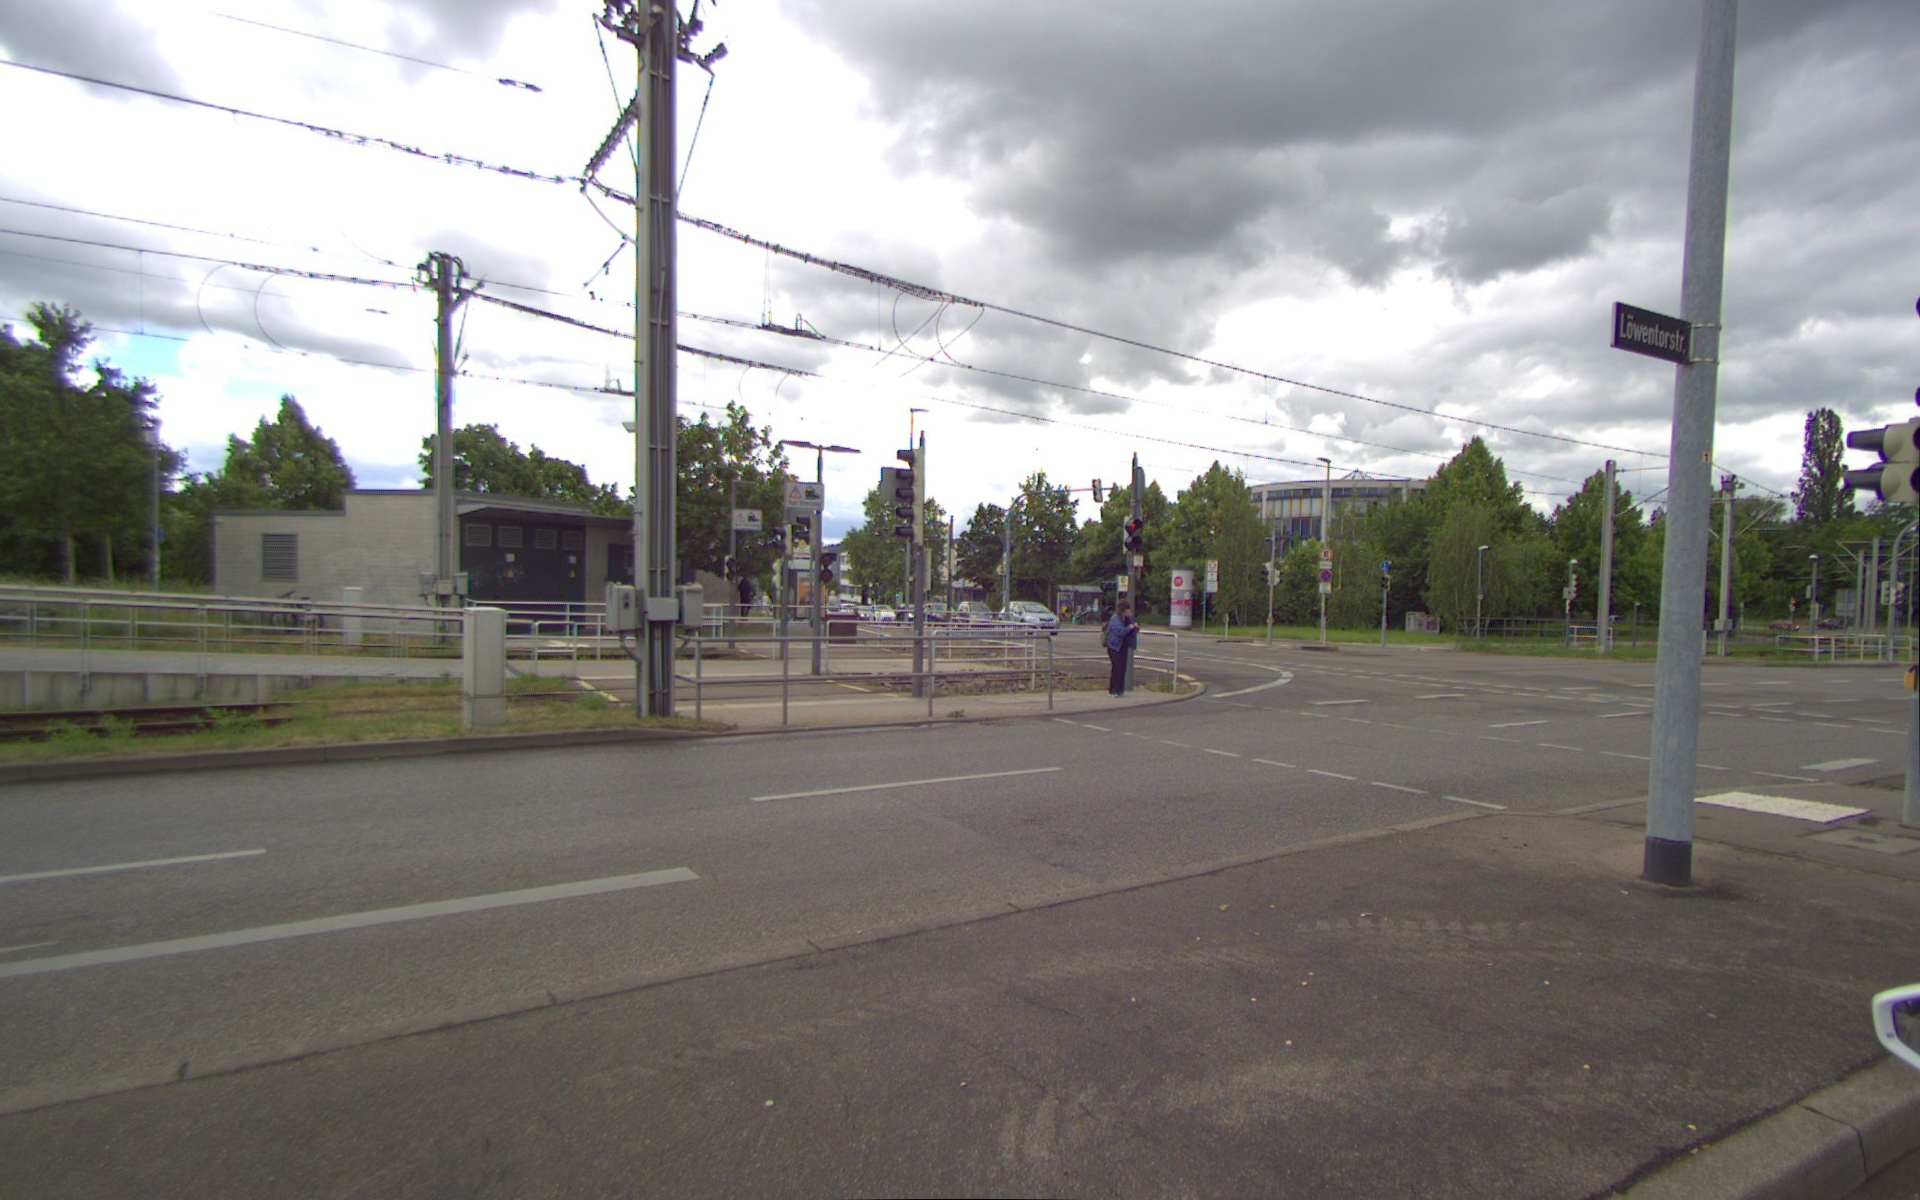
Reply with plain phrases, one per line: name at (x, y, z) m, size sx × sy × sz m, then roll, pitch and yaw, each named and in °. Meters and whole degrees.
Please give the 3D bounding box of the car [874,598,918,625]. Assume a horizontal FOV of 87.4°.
car at (-4.156, 0.697, 64.573) m, size 1.776 × 1.617 × 3.982 m, roll 2°, pitch 0°, yaw -20°

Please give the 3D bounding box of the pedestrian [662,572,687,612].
pedestrian at (-10.103, -0.271, 35.552) m, size 0.590 × 1.377 × 0.616 m, roll 2°, pitch 0°, yaw 18°

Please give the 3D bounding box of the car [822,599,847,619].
car at (-11.771, 0.827, 94.096) m, size 1.869 × 1.805 × 3.990 m, roll 1°, pitch 0°, yaw -13°

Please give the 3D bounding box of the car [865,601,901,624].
car at (-5.771, 0.925, 74.896) m, size 1.775 × 1.617 × 3.985 m, roll 2°, pitch 0°, yaw -17°

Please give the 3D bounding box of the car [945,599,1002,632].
car at (0.660, 0.794, 53.863) m, size 1.776 × 1.617 × 3.982 m, roll 2°, pitch 0°, yaw -20°

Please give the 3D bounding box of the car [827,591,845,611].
car at (-14.621, 0.101, 118.105) m, size 1.964 × 2.218 × 5.800 m, roll 1°, pitch 0°, yaw -9°

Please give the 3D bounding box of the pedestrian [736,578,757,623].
pedestrian at (-8.485, 0.022, 39.894) m, size 0.700 × 1.751 × 0.674 m, roll 2°, pitch 0°, yaw -19°

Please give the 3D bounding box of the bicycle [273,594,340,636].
bicycle at (-17.376, 0.394, 26.693) m, size 1.778 × 1.045 × 0.536 m, roll 2°, pitch 0°, yaw 21°

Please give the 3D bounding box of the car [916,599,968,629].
car at (-1.070, 0.761, 58.036) m, size 1.776 × 1.617 × 3.982 m, roll 2°, pitch 0°, yaw -20°

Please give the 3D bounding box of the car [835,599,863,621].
car at (-9.572, 0.857, 86.583) m, size 1.869 × 1.805 × 3.988 m, roll 1°, pitch 0°, yaw -14°

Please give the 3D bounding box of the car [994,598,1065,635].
car at (3.191, 0.733, 46.897) m, size 1.848 × 1.617 × 3.982 m, roll 2°, pitch 0°, yaw -20°

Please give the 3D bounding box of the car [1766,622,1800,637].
car at (102.875, 3.677, 125.655) m, size 1.839 × 1.815 × 4.002 m, roll 2°, pitch 0°, yaw 16°

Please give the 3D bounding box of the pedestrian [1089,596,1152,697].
pedestrian at (2.564, 0.732, 16.047) m, size 0.712 × 1.557 × 0.630 m, roll 2°, pitch 0°, yaw -33°

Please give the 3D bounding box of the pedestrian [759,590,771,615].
pedestrian at (-12.073, 0.148, 62.182) m, size 0.633 × 1.557 × 0.521 m, roll 2°, pitch 0°, yaw -2°
